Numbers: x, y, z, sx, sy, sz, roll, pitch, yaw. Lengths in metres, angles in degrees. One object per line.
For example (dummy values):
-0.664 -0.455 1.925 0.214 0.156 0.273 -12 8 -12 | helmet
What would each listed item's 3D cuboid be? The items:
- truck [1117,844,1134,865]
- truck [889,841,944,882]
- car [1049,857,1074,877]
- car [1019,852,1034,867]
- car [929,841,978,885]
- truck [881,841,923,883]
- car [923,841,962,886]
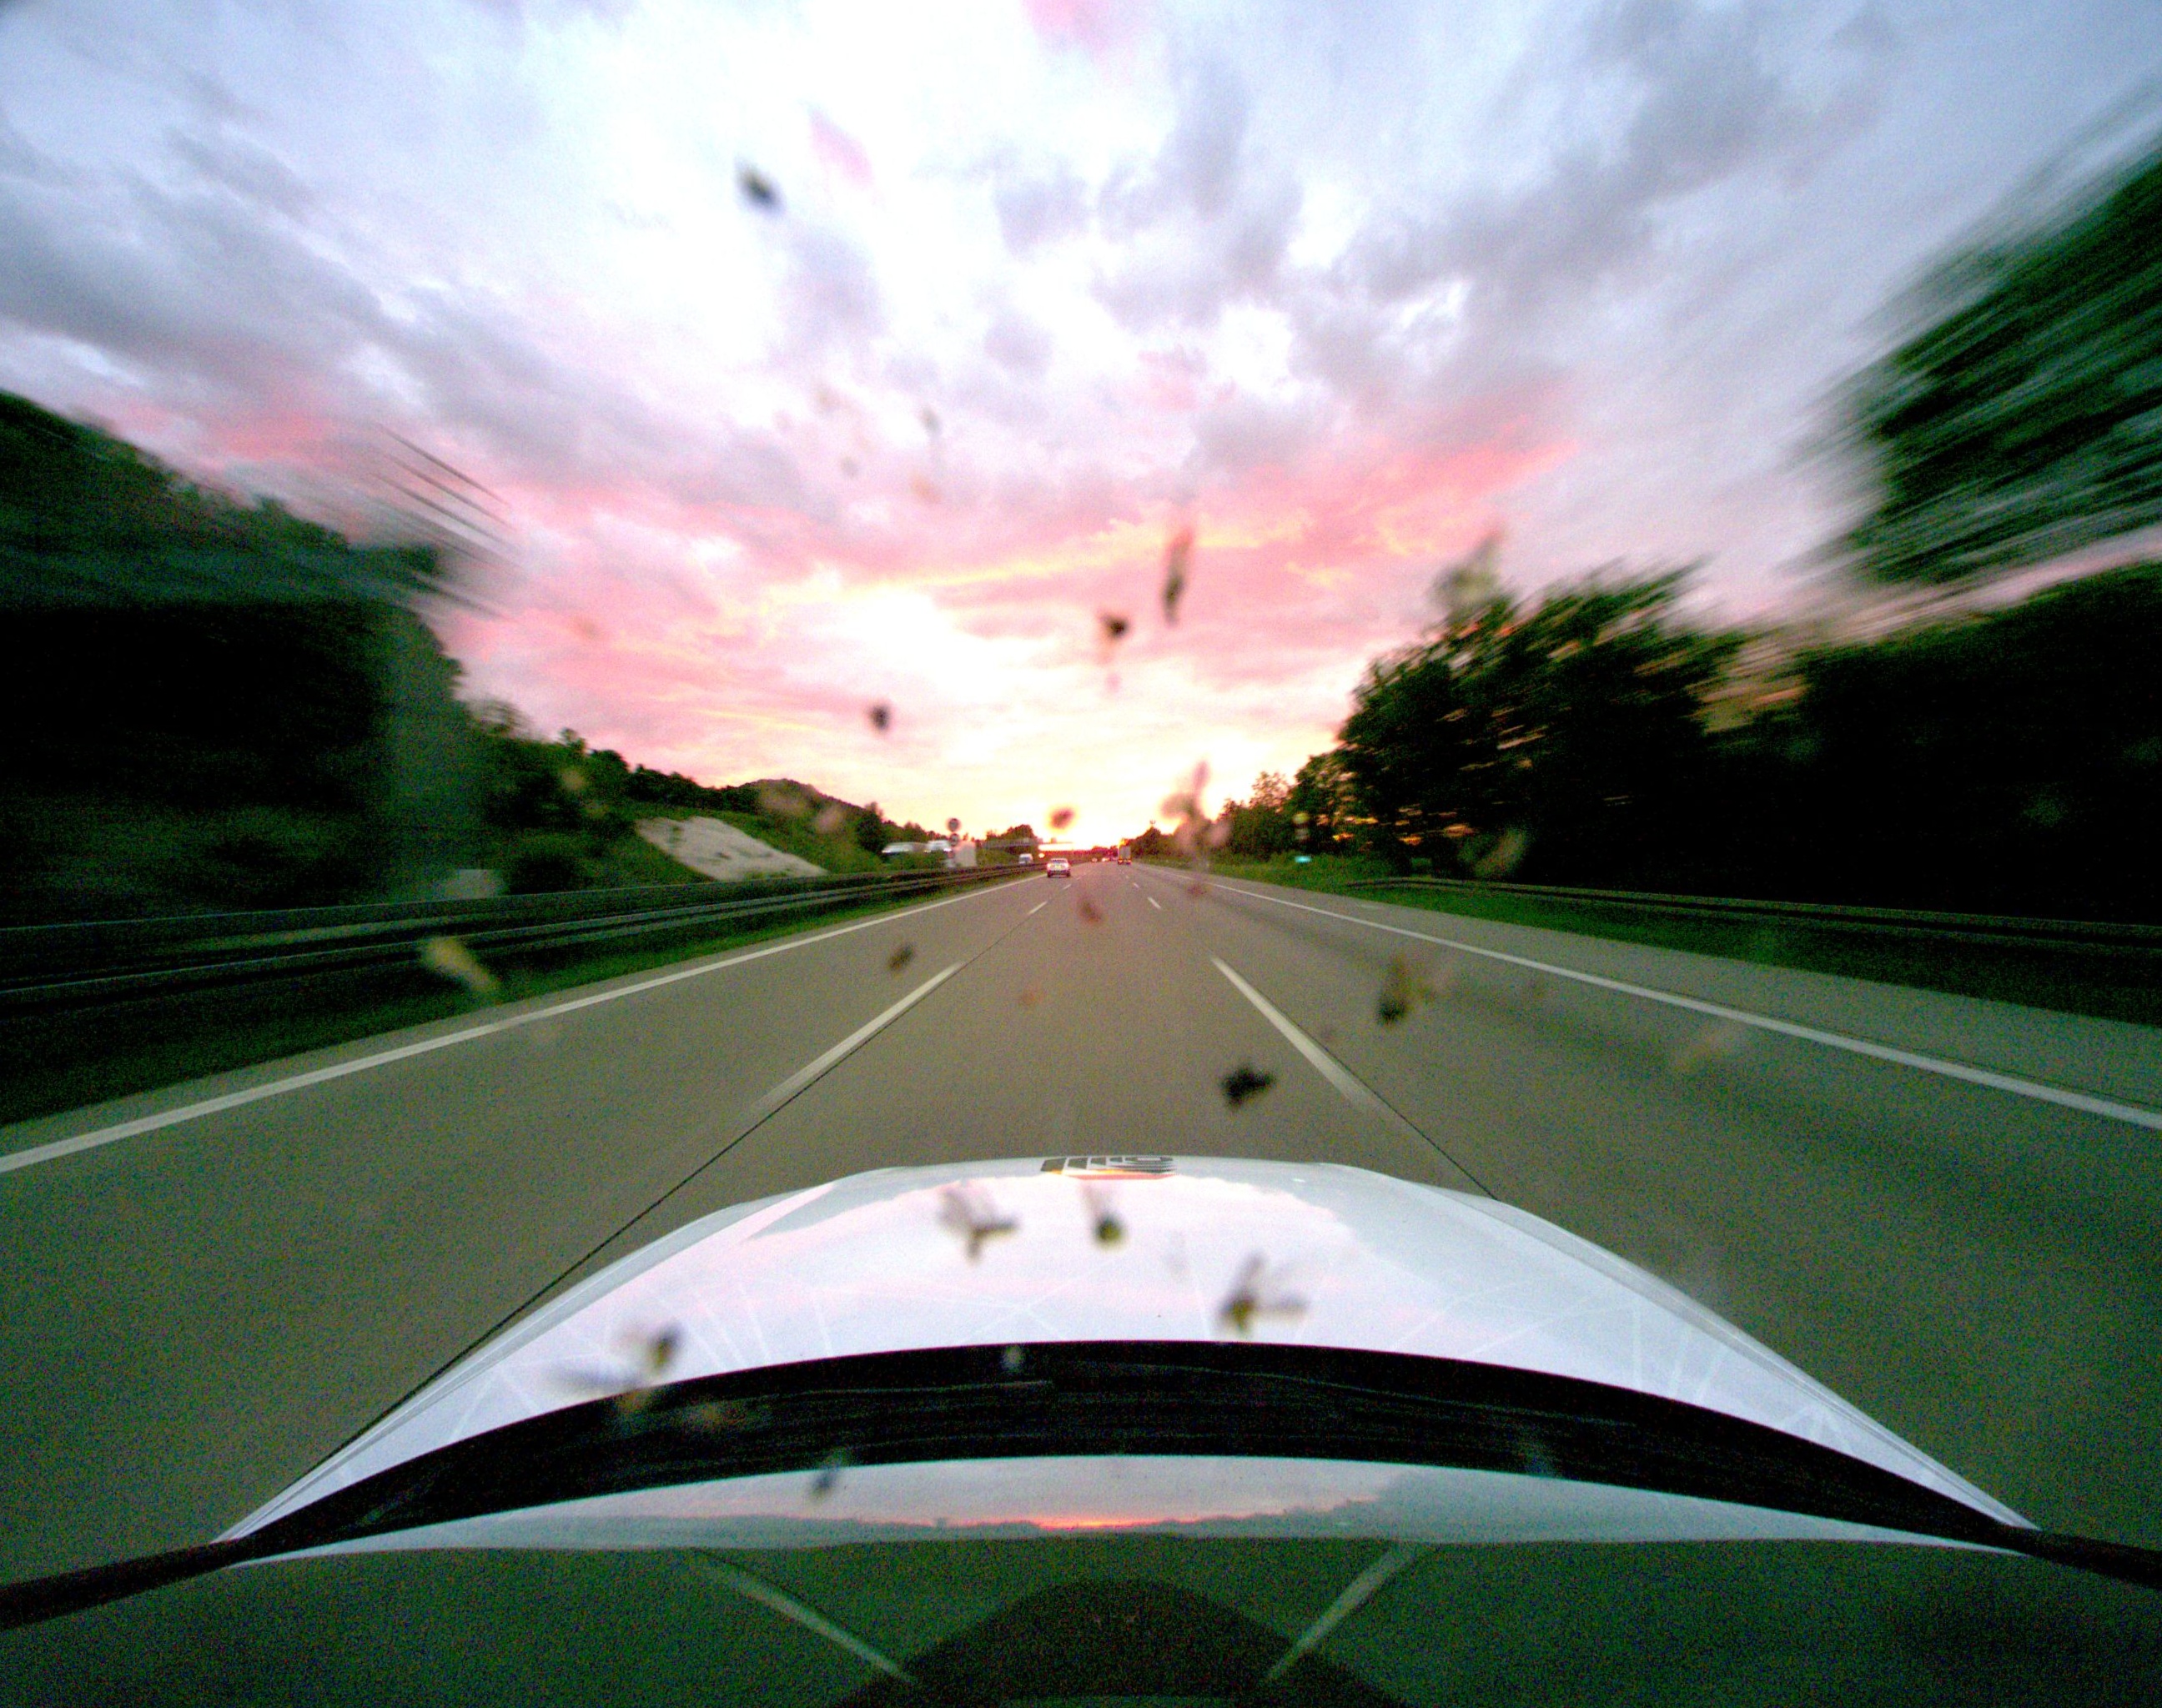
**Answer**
9.567 0.094 173.760 3.230 4.127 9.796 -2 -1 4 | truck
-18.466 0.871 92.436 2.884 4.210 13.608 -2 0 2 | truck
-1.566 1.036 66.616 1.783 1.501 5.039 0 0 1 | car
-9.181 0.944 137.721 1.986 2.287 6.341 -2 -1 2 | car
-14.188 0.978 91.820 2.788 4.487 13.915 -1 0 2 | car
-18.742 0.852 85.726 2.845 4.210 5.867 -2 -1 2 | truck
-14.406 0.956 84.929 2.788 4.487 5.931 -1 -1 1 | car
